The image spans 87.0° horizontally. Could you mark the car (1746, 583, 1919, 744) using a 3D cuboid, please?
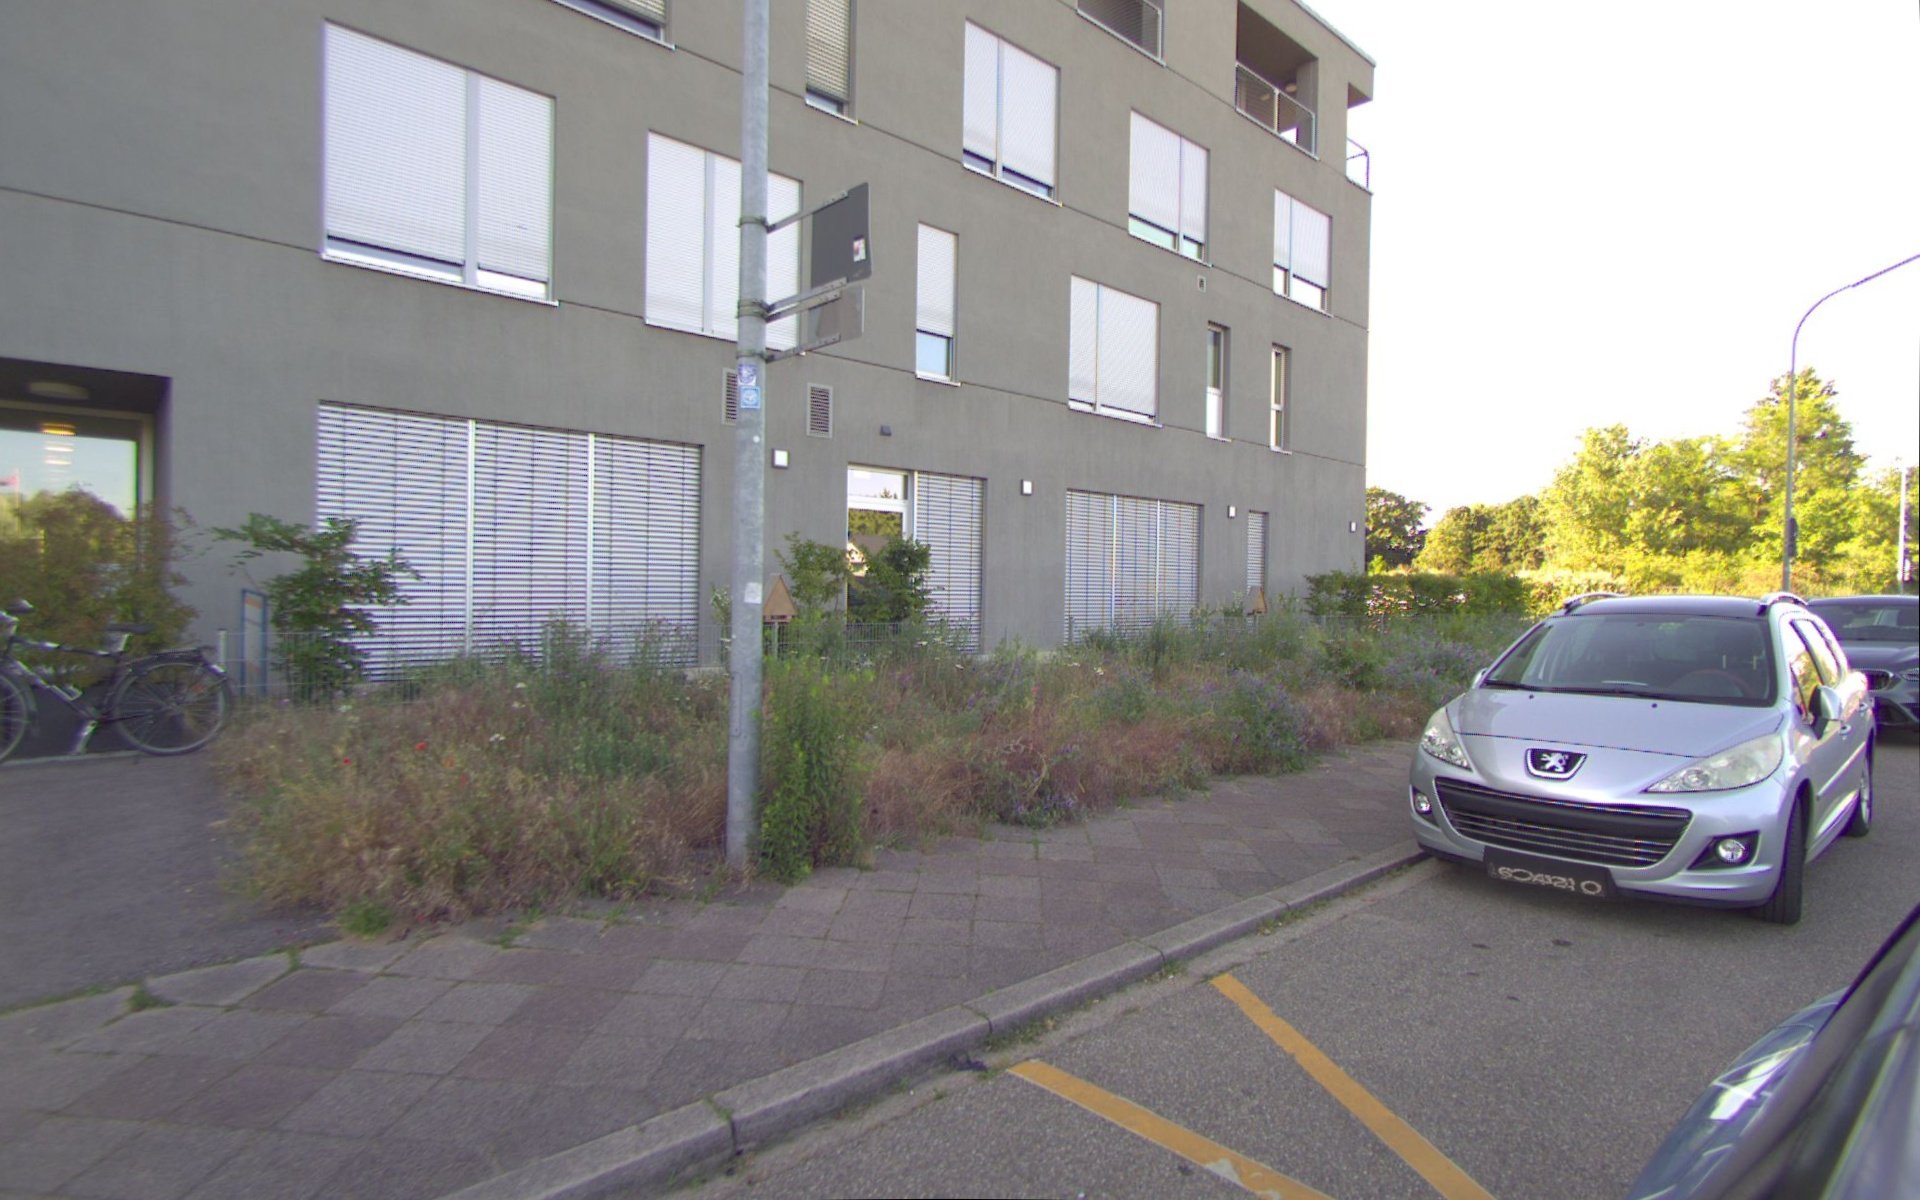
[{"bbox_3d":[10.919,0.622,11.886,4.718,1.587,1.748,0,0,-41],"label":"car"}]

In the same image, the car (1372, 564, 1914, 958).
[{"bbox_3d":[4.229,0.625,5.986,4.083,1.545,1.709,0,0,-42],"label":"car"}]

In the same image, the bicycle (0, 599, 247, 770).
[{"bbox_3d":[-5.935,0.532,6.826,1.808,1.074,0.553,0,0,-39],"label":"bicycle"}]

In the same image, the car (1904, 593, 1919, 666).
[{"bbox_3d":[22.031,0.617,22.131,3.039,1.546,1.709,0,-1,-42],"label":"car"}]

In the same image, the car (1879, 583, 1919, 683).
[{"bbox_3d":[18.408,0.566,18.751,4.277,1.727,1.708,0,-1,-44],"label":"car"}]
